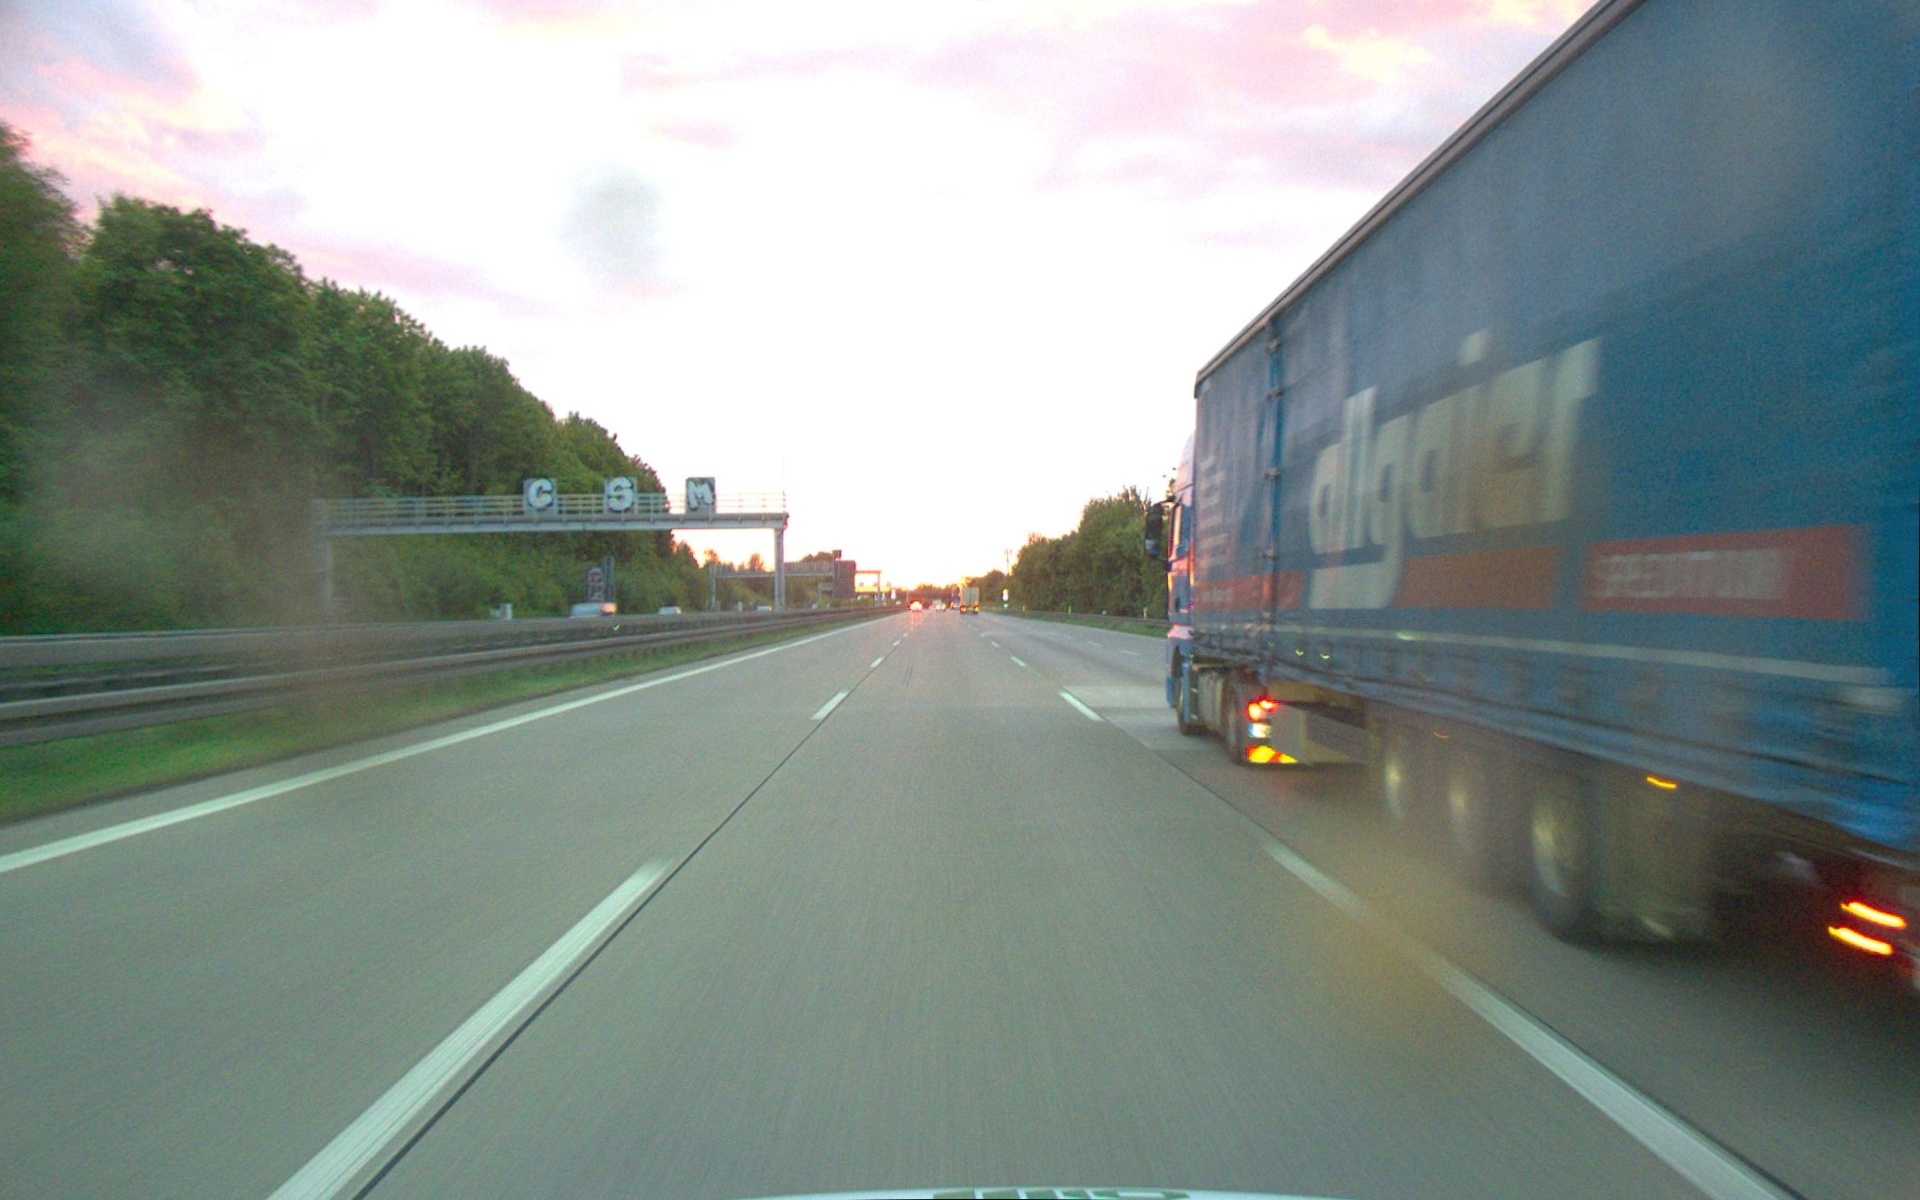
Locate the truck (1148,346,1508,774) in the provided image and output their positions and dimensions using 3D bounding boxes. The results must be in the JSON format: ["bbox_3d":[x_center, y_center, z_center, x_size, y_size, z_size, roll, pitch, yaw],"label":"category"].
[{"bbox_3d":[3.846,-0.358,18.696,2.681,4.066,5.847,0,0,-1],"label":"truck"}]

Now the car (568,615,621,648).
[{"bbox_3d":[-20.885,1.780,94.731,1.811,1.764,5.660,0,0,0],"label":"car"}]

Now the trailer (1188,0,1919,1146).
[{"bbox_3d":[3.959,-0.509,11.409,2.715,4.158,13.736,0,0,-1],"label":"trailer"}]

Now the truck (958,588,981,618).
[{"bbox_3d":[1.428,0.450,239.280,3.178,4.199,9.785,-1,0,0],"label":"truck"}]
